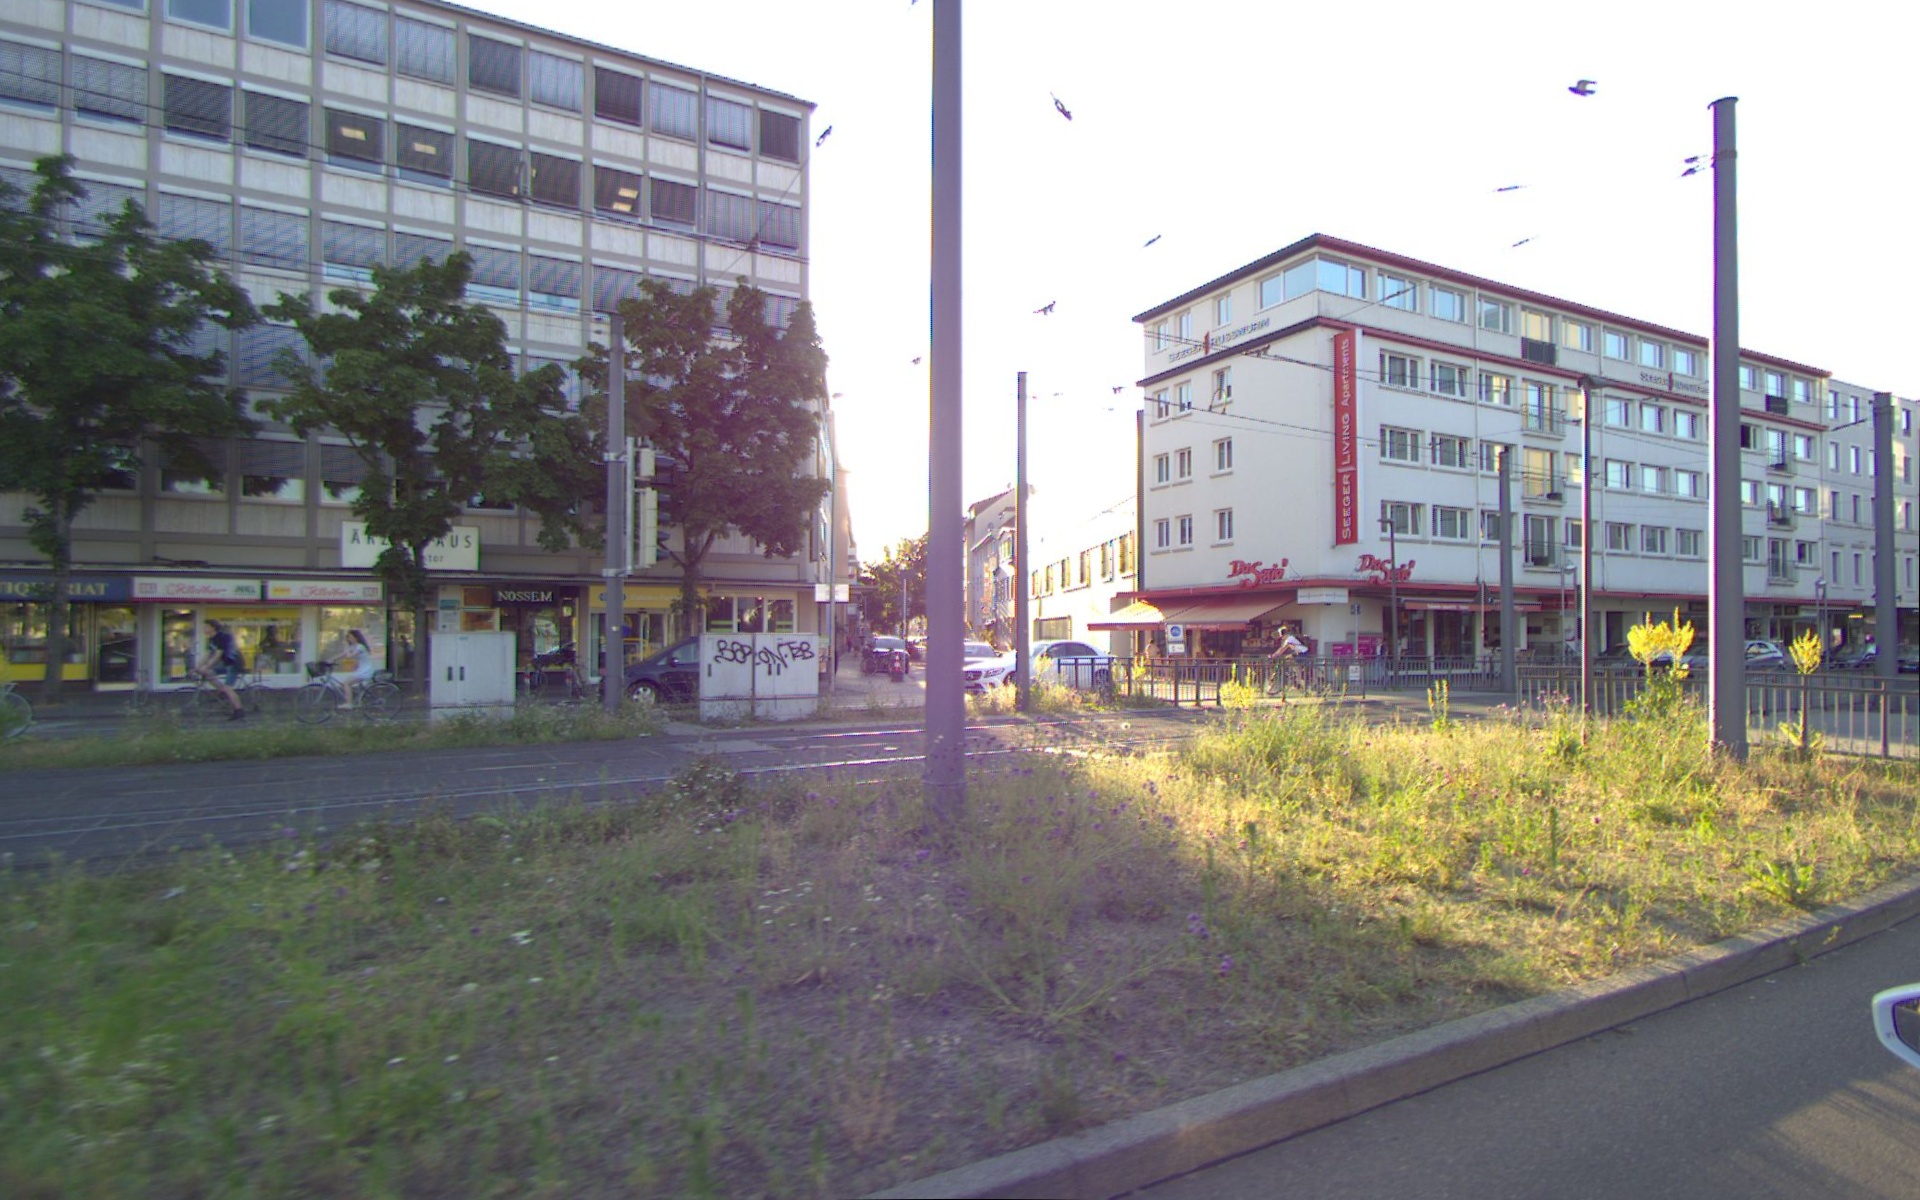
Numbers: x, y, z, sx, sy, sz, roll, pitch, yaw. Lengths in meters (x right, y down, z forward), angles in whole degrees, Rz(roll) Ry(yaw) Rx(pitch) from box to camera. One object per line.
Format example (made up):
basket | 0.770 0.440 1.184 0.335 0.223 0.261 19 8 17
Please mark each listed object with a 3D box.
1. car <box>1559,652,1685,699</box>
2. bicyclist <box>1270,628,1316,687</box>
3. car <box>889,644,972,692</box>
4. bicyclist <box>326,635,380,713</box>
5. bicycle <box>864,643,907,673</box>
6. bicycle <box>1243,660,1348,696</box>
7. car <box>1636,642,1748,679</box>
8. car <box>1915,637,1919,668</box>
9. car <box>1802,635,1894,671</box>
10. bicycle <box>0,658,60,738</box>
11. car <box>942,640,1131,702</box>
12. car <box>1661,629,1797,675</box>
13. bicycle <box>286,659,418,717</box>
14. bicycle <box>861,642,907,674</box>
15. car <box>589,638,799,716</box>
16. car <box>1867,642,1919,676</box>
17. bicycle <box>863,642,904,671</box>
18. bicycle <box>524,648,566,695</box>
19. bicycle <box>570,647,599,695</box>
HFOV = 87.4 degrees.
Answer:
car | 26.189 2.954 39.737 4.775 1.687 1.988 1 -2 -26
bicyclist | 8.408 1.435 25.393 0.912 1.460 0.836 0 -2 5
car | -1.042 2.183 33.054 1.709 1.454 4.358 1 -2 -16
bicyclist | -11.032 1.329 18.264 0.706 1.387 0.680 -2 -2 44
bicycle | -3.079 2.403 41.706 1.688 1.201 0.539 3 -2 -12
bicycle | 8.446 1.950 25.380 2.374 0.858 0.847 0 -2 5
car | 30.832 2.517 42.311 4.343 1.484 1.988 1 -2 -26
car | 54.385 2.883 54.805 3.946 1.687 1.988 1 -2 -26
car | 43.335 2.574 49.005 3.946 1.687 1.988 1 -2 -26
bicycle | -13.920 1.378 13.912 0.744 1.090 2.052 -1 -2 34
car | 2.018 1.775 25.980 4.609 1.460 2.023 1 -2 -32
car | 27.972 1.847 36.559 4.221 1.580 2.192 1 -2 -24
bicycle | -11.022 1.577 18.266 0.714 0.942 1.943 -2 -3 44
bicycle | -3.063 2.334 40.629 1.749 1.201 0.553 3 -2 -12
car | -5.984 1.659 22.684 4.251 1.594 1.985 1 -2 -30
car | 48.947 2.997 51.545 4.576 1.687 1.988 1 -2 -26
bicycle | -3.282 2.407 42.902 1.657 1.201 0.485 3 -2 -12
bicycle | -11.001 1.880 26.587 0.660 1.155 1.728 1 -1 -35
bicycle | -10.053 1.873 26.852 0.532 1.200 1.626 1 -1 -28
